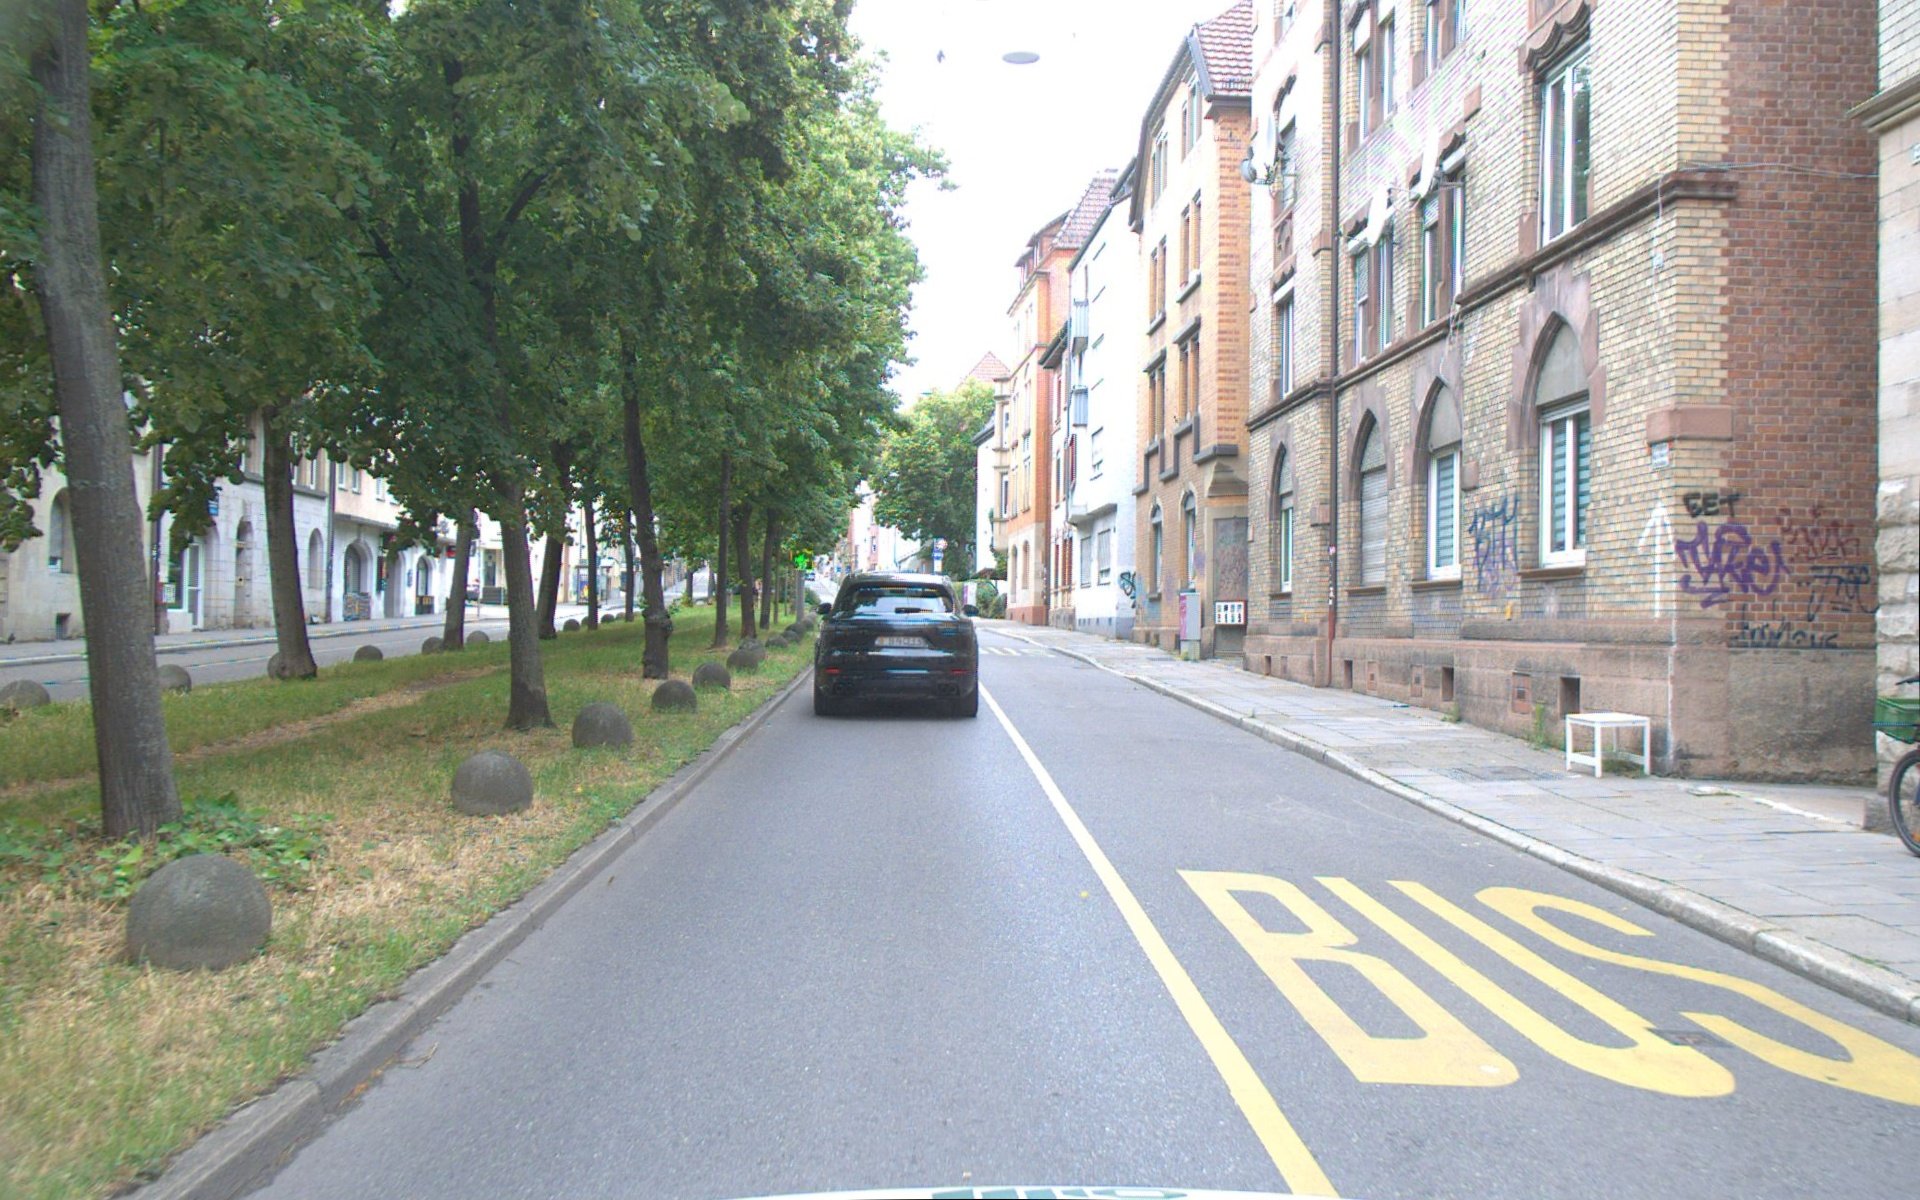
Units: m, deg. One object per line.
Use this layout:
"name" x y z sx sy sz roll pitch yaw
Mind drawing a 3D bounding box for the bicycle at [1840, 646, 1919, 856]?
"bicycle" 5.766 0.866 8.946 0.667 1.169 2.483 1 0 -1

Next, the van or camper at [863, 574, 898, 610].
"van or camper" -6.610 -0.664 136.926 2.432 2.852 7.228 1 0 -6

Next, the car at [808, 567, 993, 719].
"car" -0.848 0.489 20.641 1.868 1.695 4.128 1 0 -8

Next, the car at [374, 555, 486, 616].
"car" -26.420 -0.707 82.678 5.086 2.784 2.169 2 0 -15

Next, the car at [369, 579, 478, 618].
"car" -23.991 -0.070 74.049 4.204 1.444 2.046 4 0 -4
